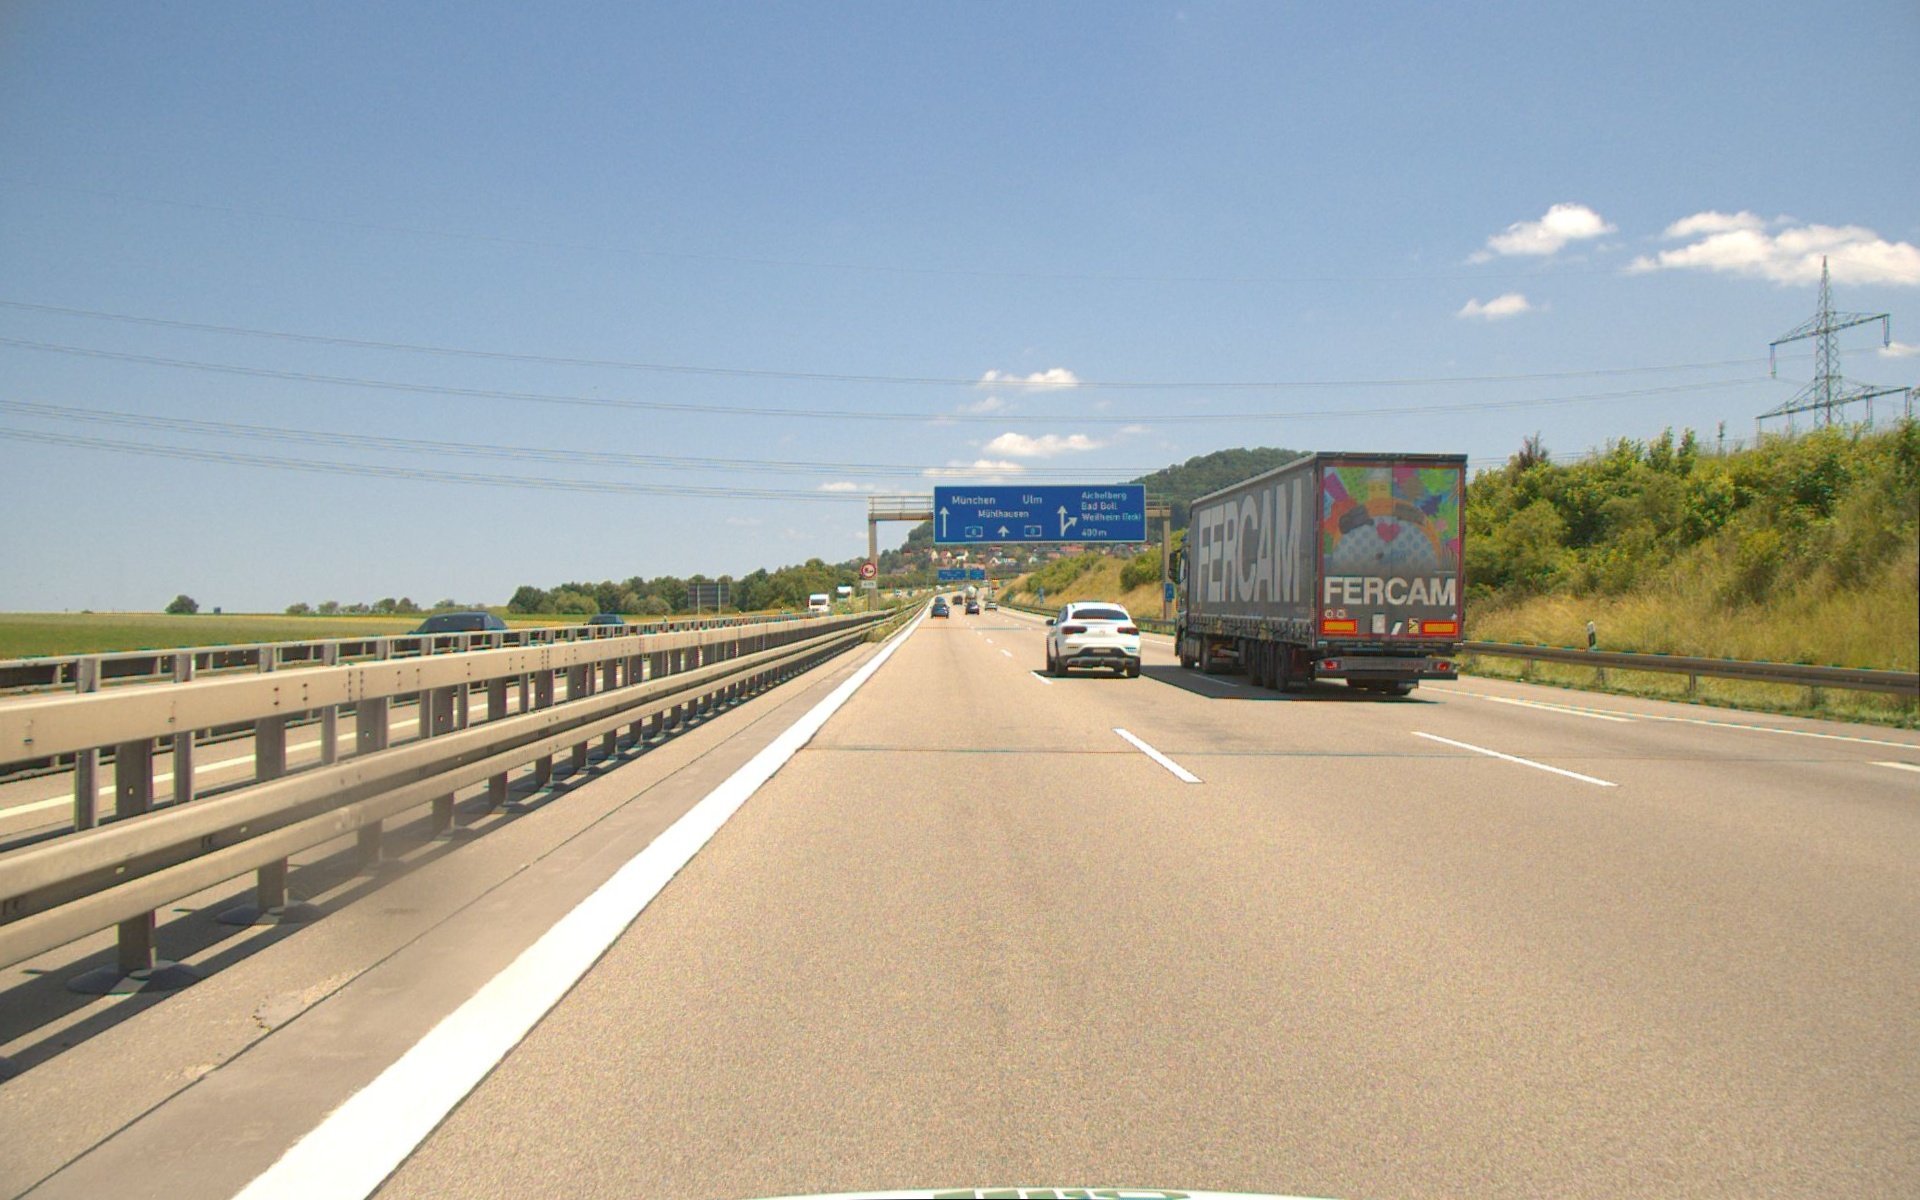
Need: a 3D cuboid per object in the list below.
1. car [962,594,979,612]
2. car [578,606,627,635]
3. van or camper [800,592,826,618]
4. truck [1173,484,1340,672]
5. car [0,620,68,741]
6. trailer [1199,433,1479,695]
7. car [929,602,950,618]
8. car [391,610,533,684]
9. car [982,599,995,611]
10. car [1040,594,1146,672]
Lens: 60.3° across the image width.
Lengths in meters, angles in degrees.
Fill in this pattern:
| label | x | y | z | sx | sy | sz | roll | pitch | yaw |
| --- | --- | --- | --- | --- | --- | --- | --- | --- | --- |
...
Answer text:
| label | x | y | z | sx | sy | sz | roll | pitch | yaw |
| --- | --- | --- | --- | --- | --- | --- | --- | --- | --- |
| car | 1.233 | 0.404 | 192.367 | 1.953 | 2.049 | 3.999 | 1 | -1 | 0 |
| car | -17.387 | 0.981 | 80.670 | 1.541 | 1.329 | 4.041 | -1 | 0 | -1 |
| van or camper | -15.233 | 0.534 | 171.591 | 2.182 | 2.552 | 6.595 | 1 | 0 | -1 |
| truck | 6.969 | -0.458 | 39.797 | 2.696 | 4.091 | 6.787 | 1 | -1 | 0 |
| car | -12.428 | 0.998 | 19.269 | 1.637 | 1.465 | 4.564 | -2 | -1 | -1 |
| trailer | 7.048 | -0.551 | 32.933 | 2.670 | 4.227 | 11.805 | 1 | 0 | -1 |
| car | -1.953 | 0.972 | 156.528 | 1.953 | 1.413 | 3.999 | 1 | 0 | 0 |
| car | -11.250 | 1.019 | 37.768 | 1.771 | 1.465 | 5.281 | -3 | 0 | -2 |
| car | 4.331 | 0.741 | 252.551 | 1.953 | 1.850 | 4.000 | -1 | 0 | 0 |
| car | 2.933 | 0.709 | 37.543 | 1.875 | 1.608 | 5.229 | 1 | 0 | -1 |
